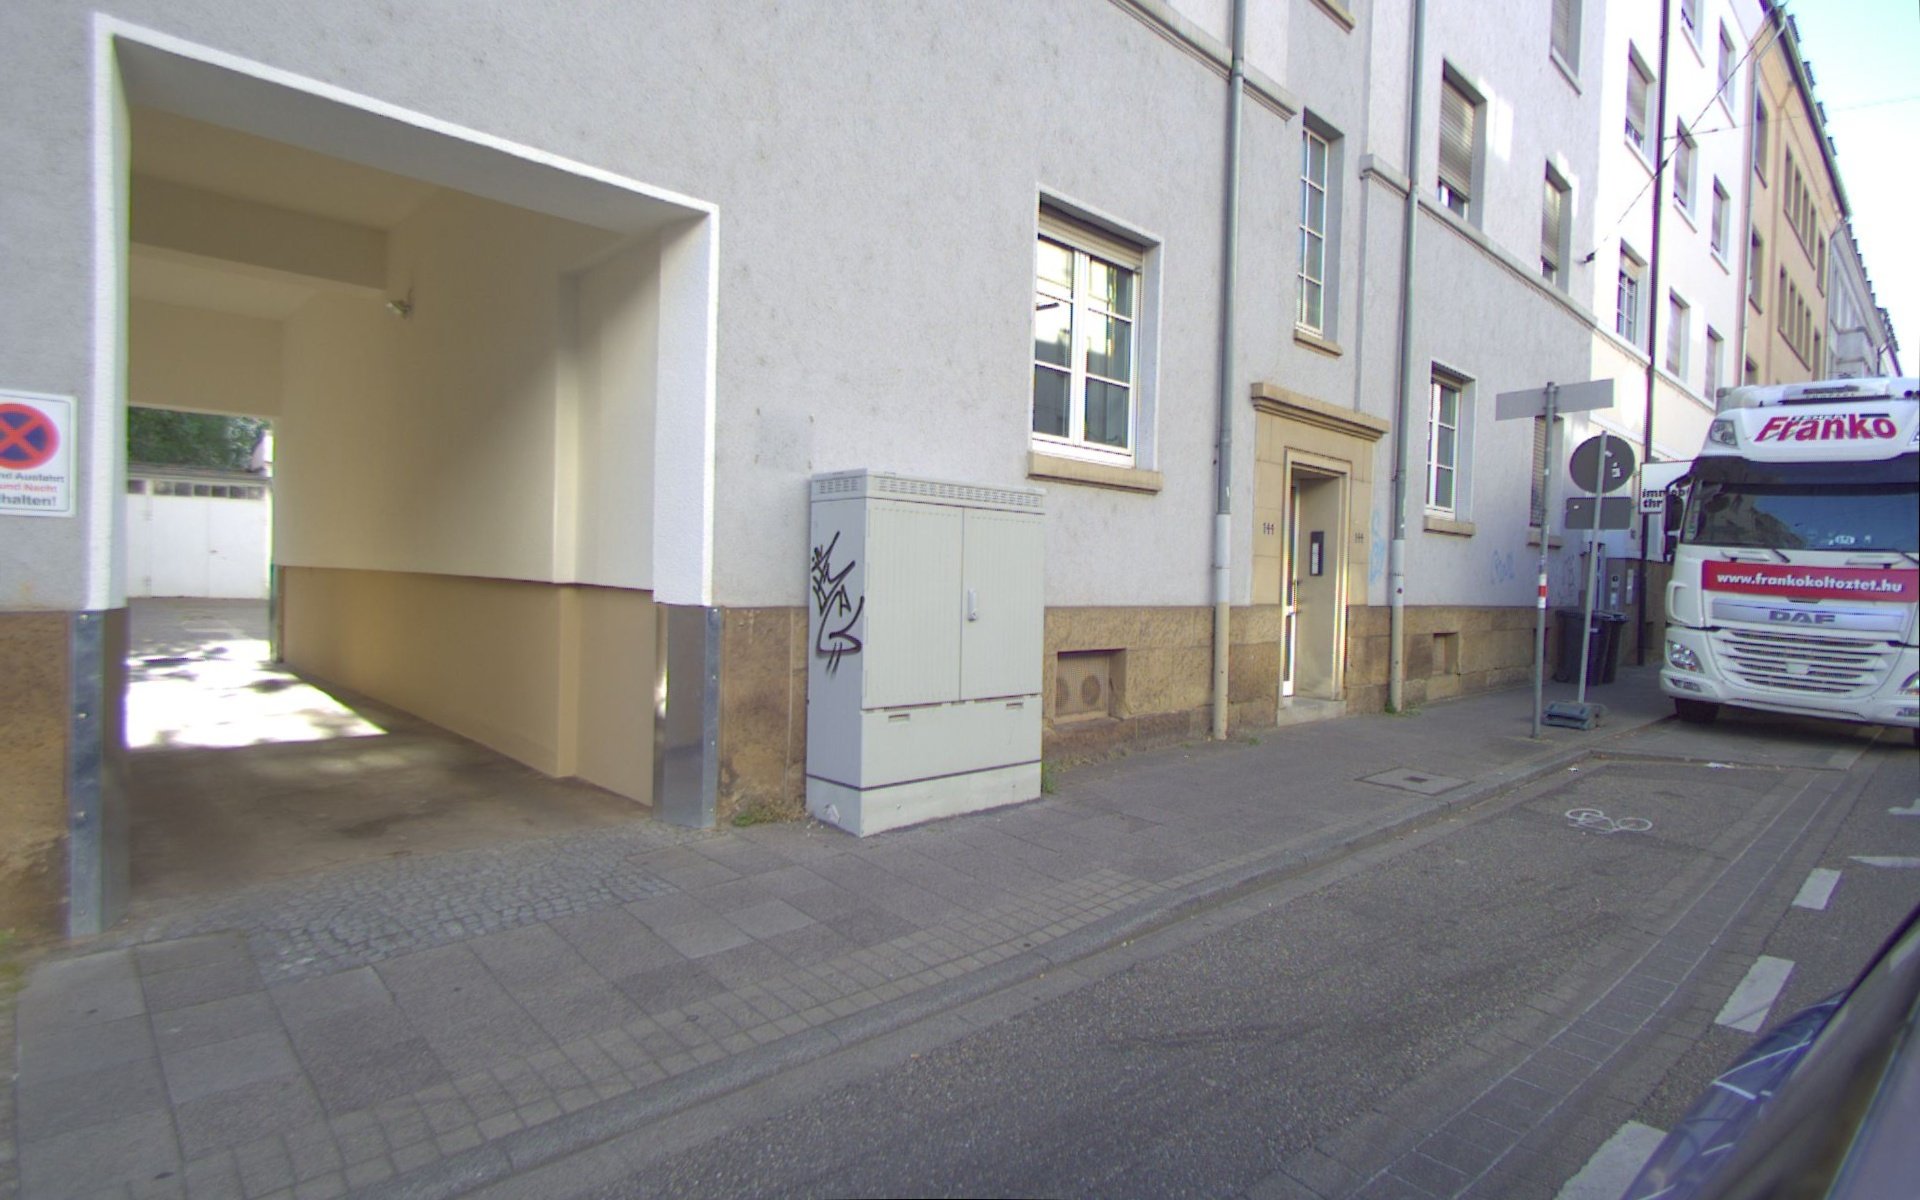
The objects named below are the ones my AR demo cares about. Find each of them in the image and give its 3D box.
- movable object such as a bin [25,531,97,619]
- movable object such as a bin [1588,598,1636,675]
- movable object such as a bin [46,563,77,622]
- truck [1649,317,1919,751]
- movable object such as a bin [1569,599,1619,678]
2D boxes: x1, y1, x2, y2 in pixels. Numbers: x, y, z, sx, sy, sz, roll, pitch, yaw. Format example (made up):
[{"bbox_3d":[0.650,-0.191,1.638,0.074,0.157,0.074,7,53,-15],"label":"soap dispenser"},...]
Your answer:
[{"bbox_3d":[-14.906,-0.421,16.779,0.874,1.409,0.758,0,4,-44],"label":"movable object such as a bin"},{"bbox_3d":[9.646,0.531,14.974,0.511,1.106,0.488,0,0,45],"label":"movable object such as a bin"},{"bbox_3d":[-14.406,-0.125,16.226,0.366,0.919,0.420,0,3,-44],"label":"movable object such as a bin"},{"bbox_3d":[12.572,-0.606,13.838,11.511,4.012,2.894,0,0,-44],"label":"truck"},{"bbox_3d":[9.131,0.544,14.580,0.511,1.106,0.488,0,0,45],"label":"movable object such as a bin"}]
